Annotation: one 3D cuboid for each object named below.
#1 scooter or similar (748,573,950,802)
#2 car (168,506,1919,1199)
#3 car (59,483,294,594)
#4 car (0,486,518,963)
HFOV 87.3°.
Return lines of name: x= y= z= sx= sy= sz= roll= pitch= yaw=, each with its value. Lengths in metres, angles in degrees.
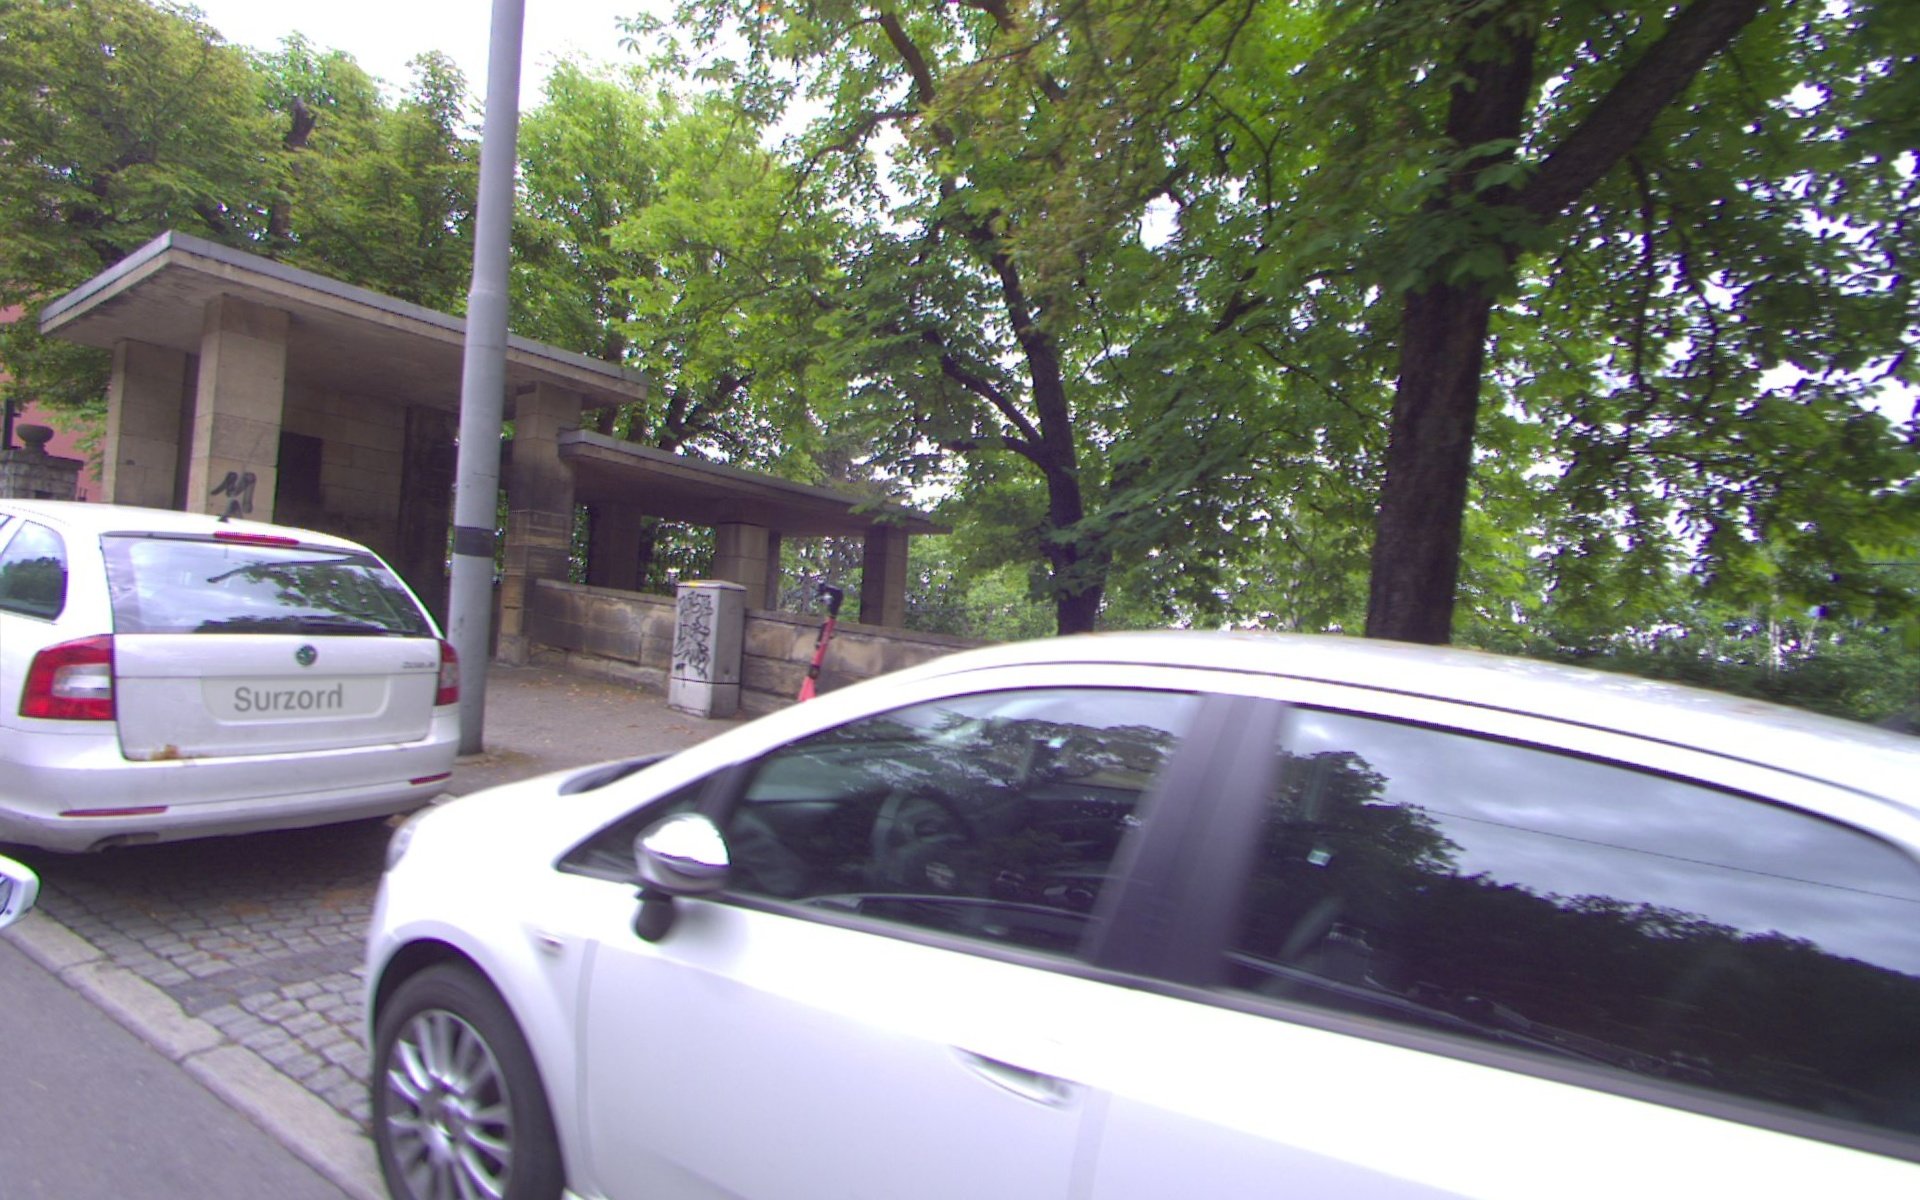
scooter or similar: x=-0.731 y=0.518 z=6.487 sx=1.150 sy=1.277 sz=0.516 roll=7 pitch=3 yaw=35
car: x=0.071 y=0.717 z=2.355 sx=3.970 sy=1.492 sz=1.715 roll=7 pitch=3 yaw=31
car: x=-14.032 y=-1.103 z=17.979 sx=3.934 sy=1.439 sz=1.996 roll=7 pitch=0 yaw=32
car: x=-4.298 y=0.237 z=4.971 sx=4.294 sy=1.480 sz=1.676 roll=6 pitch=1 yaw=32
